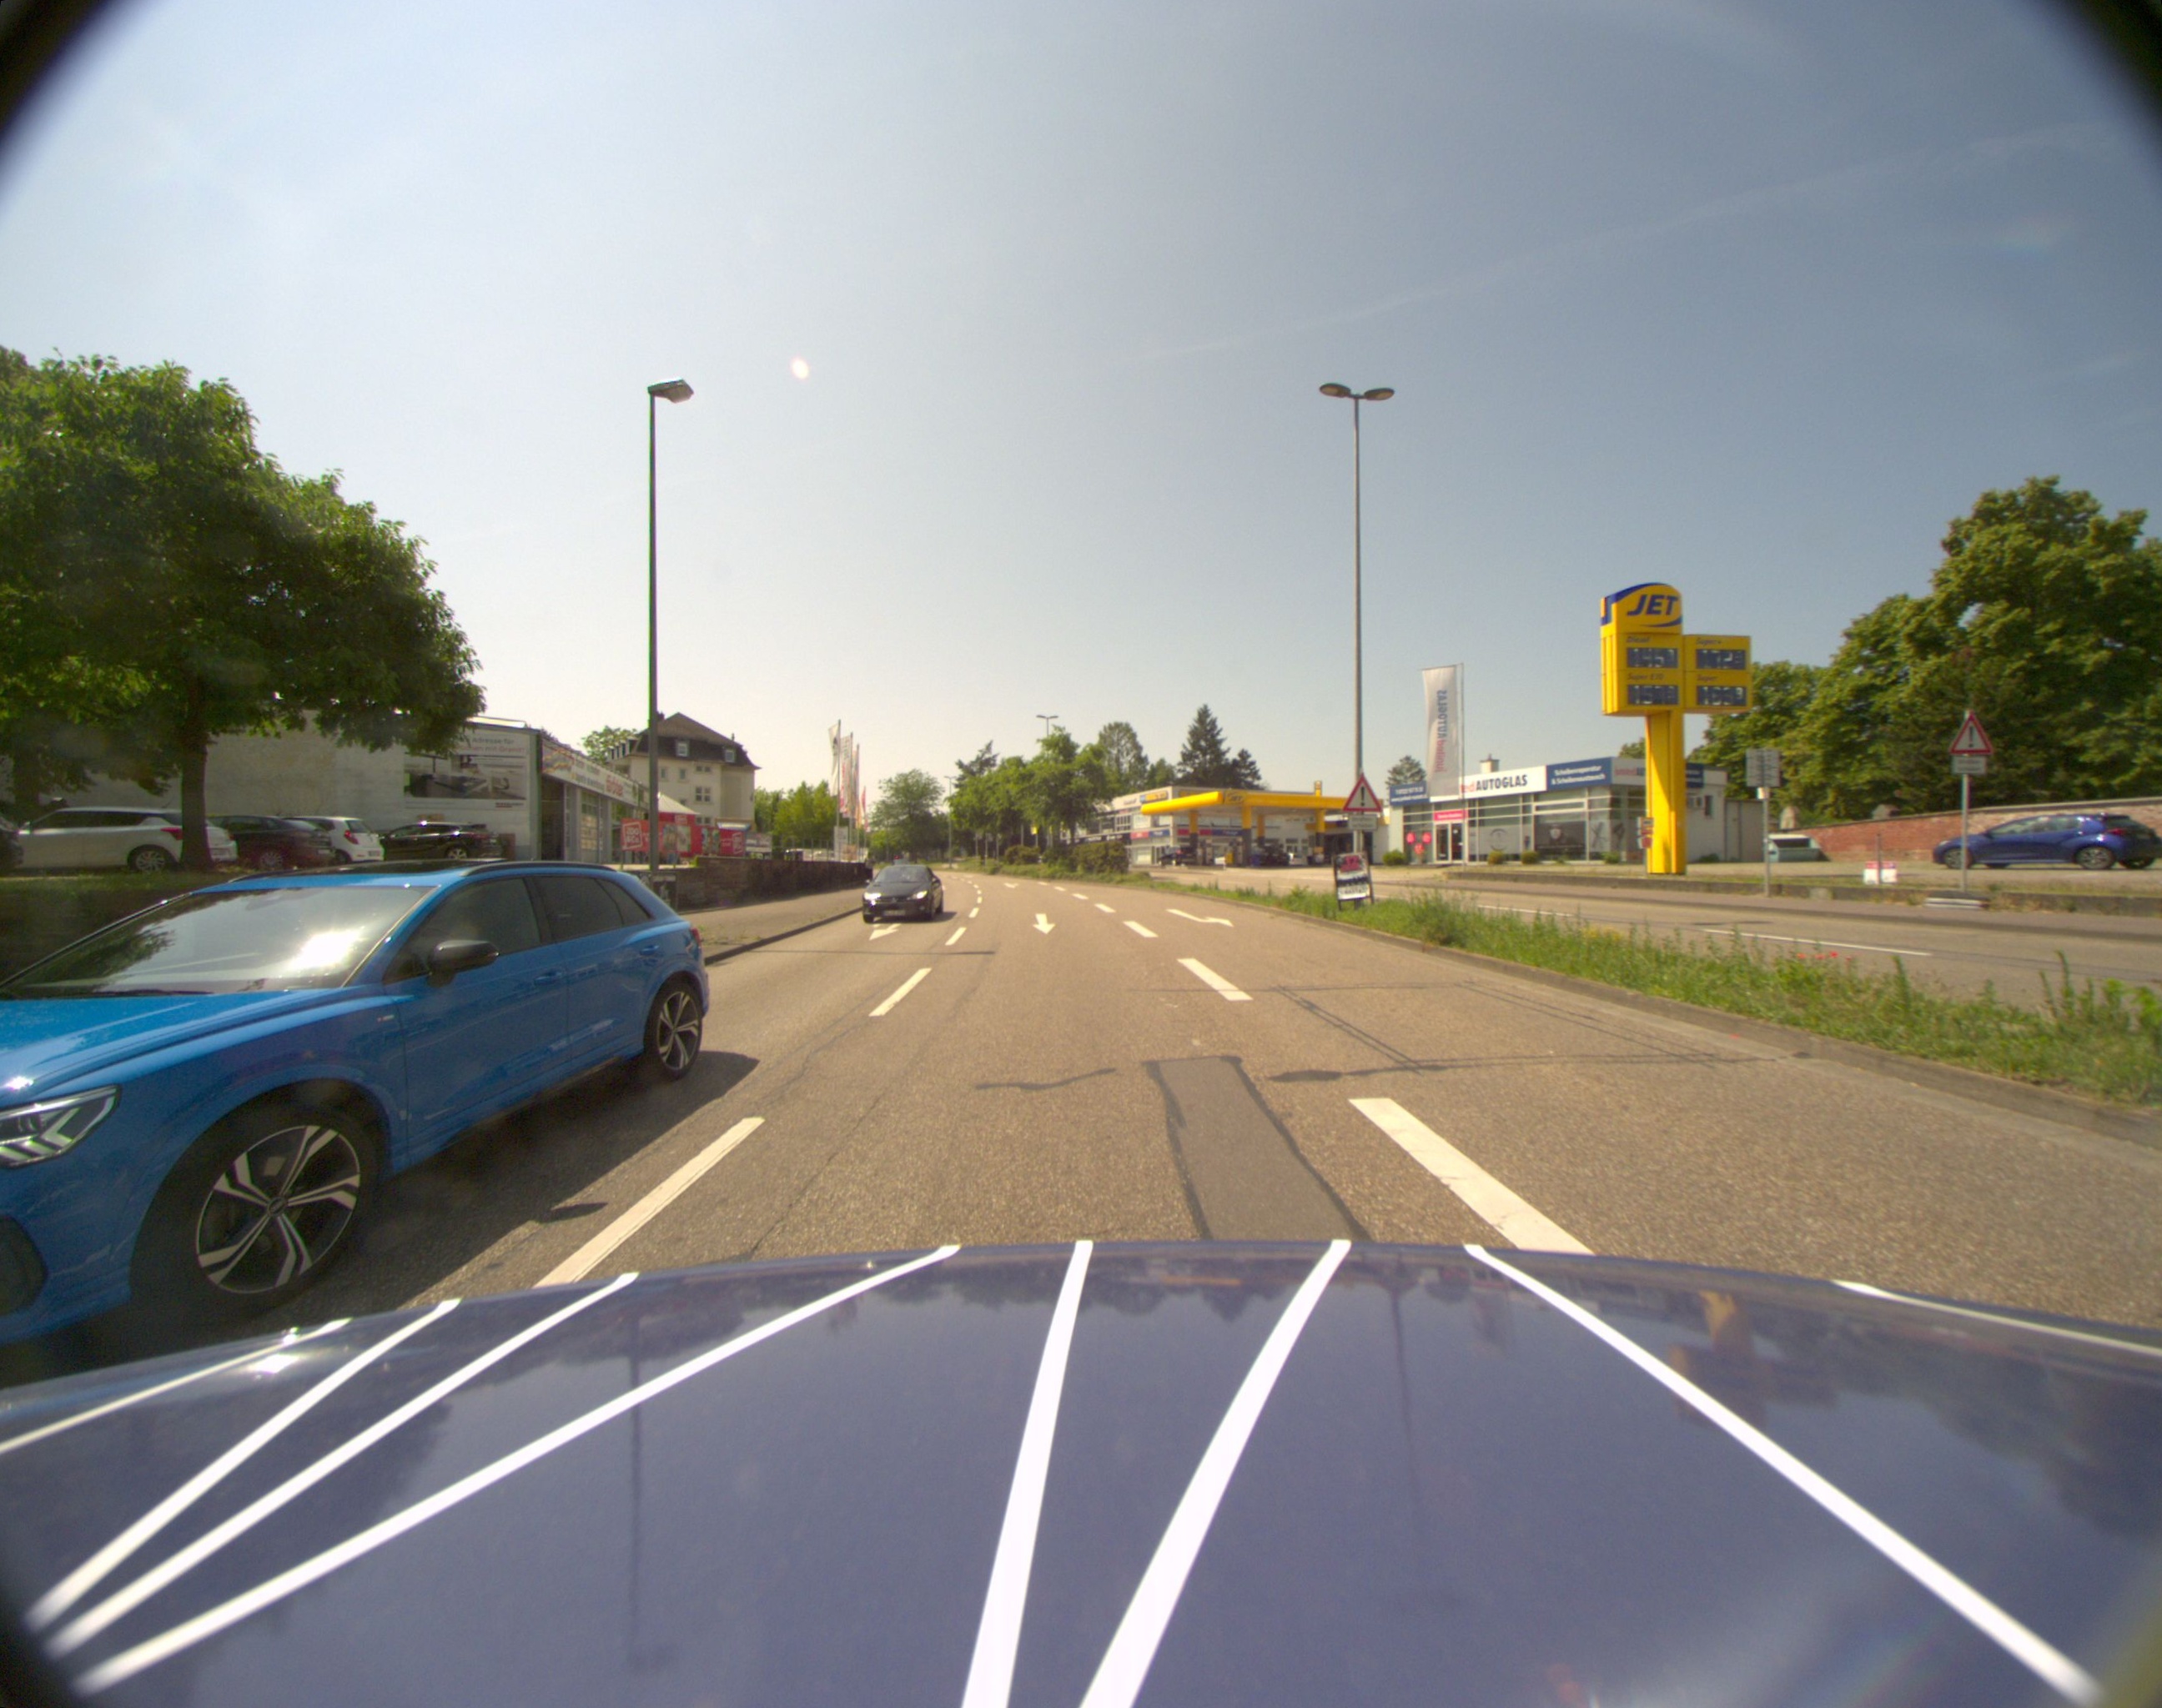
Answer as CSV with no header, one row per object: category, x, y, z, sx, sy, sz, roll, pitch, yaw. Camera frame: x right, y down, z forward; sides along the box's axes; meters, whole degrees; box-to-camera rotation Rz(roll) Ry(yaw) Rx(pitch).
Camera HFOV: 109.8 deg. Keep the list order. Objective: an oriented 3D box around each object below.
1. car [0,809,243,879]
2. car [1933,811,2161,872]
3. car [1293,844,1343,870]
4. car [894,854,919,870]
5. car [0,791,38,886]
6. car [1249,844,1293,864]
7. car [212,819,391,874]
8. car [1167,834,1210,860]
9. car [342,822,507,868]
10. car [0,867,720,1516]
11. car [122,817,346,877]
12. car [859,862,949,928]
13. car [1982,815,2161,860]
car,-20.736,-0.220,16.333,3.293,1.403,1.528,-1,1,-18
car,26.335,-0.315,20.812,1.695,1.497,3.627,-1,0,-13
car,19.287,0.236,62.058,2.001,2.002,3.995,-2,1,-15
car,-16.895,0.752,73.471,1.700,1.366,3.991,0,3,-22
car,-18.431,-0.171,10.826,1.995,1.475,3.855,-2,1,26
car,15.410,0.016,61.872,1.657,1.534,4.208,-2,1,-15
car,-21.856,-0.218,21.437,3.156,1.463,1.501,-1,0,-15
car,8.572,-0.550,60.982,2.001,2.002,3.994,-2,1,-15
car,-23.095,-0.343,26.912,4.003,1.531,1.735,-1,0,-19
car,-3.812,0.940,3.772,1.918,1.588,4.394,-1,1,0
car,-21.023,-0.177,19.039,3.323,1.377,1.656,-1,0,-18
car,-4.410,0.959,19.451,1.604,1.417,3.659,-1,1,-3
car,35.733,-0.565,27.548,1.620,1.497,3.627,-1,0,-13
